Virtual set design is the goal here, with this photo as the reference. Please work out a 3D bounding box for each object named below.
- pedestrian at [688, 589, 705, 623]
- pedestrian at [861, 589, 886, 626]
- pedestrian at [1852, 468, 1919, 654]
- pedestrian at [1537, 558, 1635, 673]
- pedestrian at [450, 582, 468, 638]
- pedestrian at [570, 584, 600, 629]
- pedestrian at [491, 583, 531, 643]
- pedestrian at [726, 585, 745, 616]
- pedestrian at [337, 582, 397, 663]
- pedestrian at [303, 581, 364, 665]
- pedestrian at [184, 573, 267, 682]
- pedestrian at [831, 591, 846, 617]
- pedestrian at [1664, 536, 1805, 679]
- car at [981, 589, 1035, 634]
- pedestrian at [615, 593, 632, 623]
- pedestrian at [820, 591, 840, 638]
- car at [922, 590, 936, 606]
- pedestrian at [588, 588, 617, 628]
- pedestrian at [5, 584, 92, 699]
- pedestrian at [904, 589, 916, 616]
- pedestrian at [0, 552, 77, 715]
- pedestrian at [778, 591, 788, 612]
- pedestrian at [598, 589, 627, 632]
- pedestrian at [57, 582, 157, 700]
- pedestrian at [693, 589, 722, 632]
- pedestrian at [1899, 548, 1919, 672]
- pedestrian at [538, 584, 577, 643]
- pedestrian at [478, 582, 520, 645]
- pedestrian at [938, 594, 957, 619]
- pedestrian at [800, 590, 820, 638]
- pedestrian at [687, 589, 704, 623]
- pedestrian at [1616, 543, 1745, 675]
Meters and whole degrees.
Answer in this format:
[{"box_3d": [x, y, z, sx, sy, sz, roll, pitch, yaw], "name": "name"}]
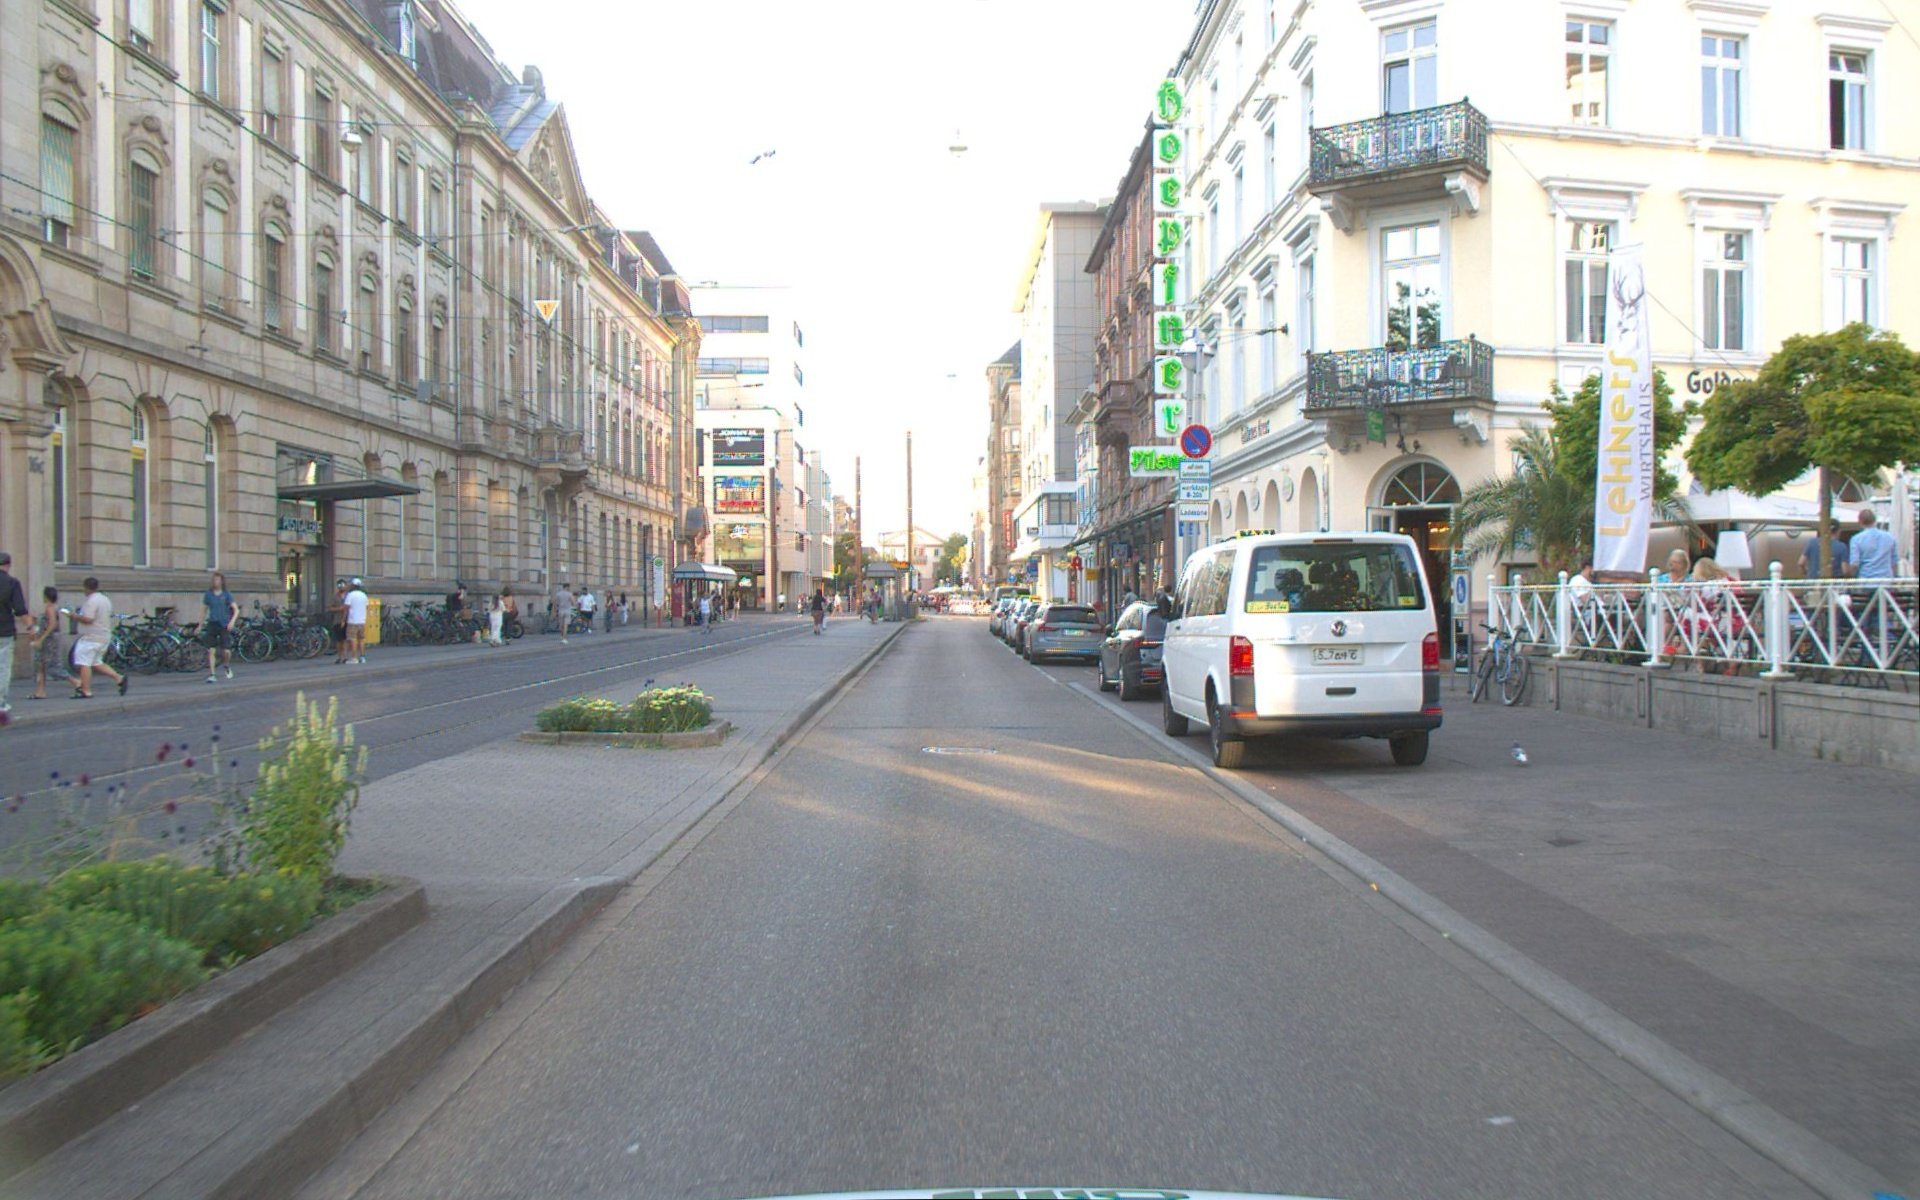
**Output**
[{"box_3d": [-12.584, 0.295, 79.035, 0.760, 1.608, 0.677, -1, 0, -12], "name": "pedestrian"}, {"box_3d": [-4.120, 0.357, 78.906, 1.026, 1.715, 0.909, -1, -2, 10], "name": "pedestrian"}, {"box_3d": [11.931, -0.481, 21.188, 0.604, 2.345, 0.577, 0, -2, -22], "name": "pedestrian"}, {"box_3d": [7.484, 0.192, 19.800, 0.806, 1.329, 0.869, -1, -2, -2], "name": "pedestrian"}, {"box_3d": [-15.334, 0.303, 50.632, 0.508, 1.702, 0.480, 0, 0, -16], "name": "pedestrian"}, {"box_3d": [-14.574, 0.246, 64.233, 1.033, 1.715, 0.903, 0, 0, -20], "name": "pedestrian"}, {"box_3d": [-13.008, 0.386, 47.985, 1.030, 1.715, 0.906, -1, -2, -10], "name": "pedestrian"}, {"box_3d": [-14.133, 0.045, 104.112, 0.888, 1.962, 0.849, 0, 0, 30], "name": "pedestrian"}, {"box_3d": [-12.520, 0.481, 34.929, 0.860, 1.682, 0.876, -1, -2, 13], "name": "pedestrian"}, {"box_3d": [-13.391, 0.496, 35.378, 0.855, 1.750, 0.882, -1, -2, 23], "name": "pedestrian"}, {"box_3d": [-12.044, 0.454, 27.151, 0.854, 1.740, 1.131, -1, -1, 0], "name": "pedestrian"}, {"box_3d": [-8.930, 0.291, 121.470, 0.891, 1.962, 0.847, 0, 0, -17], "name": "pedestrian"}, {"box_3d": [7.550, 0.080, 16.161, 0.884, 1.337, 0.966, -1, -2, -2], "name": "pedestrian"}, {"box_3d": [1.906, 0.507, 66.292, 1.953, 1.696, 4.419, -1, -1, -1], "name": "car"}, {"box_3d": [-16.170, 0.370, 79.511, 0.616, 1.454, 0.711, 0, 0, 5], "name": "pedestrian"}, {"box_3d": [-4.581, 0.500, 58.271, 0.659, 1.665, 0.761, 0, 0, -8], "name": "pedestrian"}, {"box_3d": [-3.964, -0.225, 209.860, 1.725, 1.859, 3.569, -1, -1, -1], "name": "car"}, {"box_3d": [-15.614, 0.337, 72.307, 1.026, 1.715, 0.791, 0, 0, 5], "name": "pedestrian"}, {"box_3d": [-12.476, 0.568, 22.646, 0.746, 1.540, 0.858, -2, -2, 42], "name": "pedestrian"}, {"box_3d": [-2.896, 0.151, 95.276, 0.601, 1.550, 0.619, -1, -2, -9], "name": "pedestrian"}, {"box_3d": [-10.934, 0.393, 19.114, 0.943, 1.842, 0.906, -1, -2, 5], "name": "pedestrian"}, {"box_3d": [-16.403, 0.127, 153.121, 0.831, 1.962, 0.908, 0, 0, 0], "name": "pedestrian"}, {"box_3d": [-13.940, 0.417, 66.292, 1.033, 1.715, 0.903, -1, 0, -20], "name": "pedestrian"}, {"box_3d": [-11.502, 0.550, 22.316, 0.706, 1.540, 1.031, -2, -2, 42], "name": "pedestrian"}, {"box_3d": [-10.201, 0.419, 66.872, 1.027, 1.715, 0.908, 0, 0, -1], "name": "pedestrian"}, {"box_3d": [10.439, 0.097, 17.064, 0.944, 1.289, 0.905, -1, -2, -1], "name": "pedestrian"}, {"box_3d": [-11.812, 0.398, 48.587, 1.030, 1.715, 0.906, -1, -2, -10], "name": "pedestrian"}, {"box_3d": [-12.772, 0.386, 45.866, 1.030, 1.715, 0.906, -1, -2, -10], "name": "pedestrian"}, {"box_3d": [-0.992, 0.533, 130.250, 1.210, 1.962, 1.017, 0, 0, -17], "name": "pedestrian"}, {"box_3d": [-5.289, 0.478, 58.176, 0.676, 1.665, 0.580, 0, 0, -9], "name": "pedestrian"}, {"box_3d": [-12.766, 0.289, 79.878, 0.764, 1.608, 0.677, -1, 0, -12], "name": "pedestrian"}, {"box_3d": [7.518, 0.106, 17.310, 0.884, 1.329, 0.966, -1, -2, -2], "name": "pedestrian"}]
